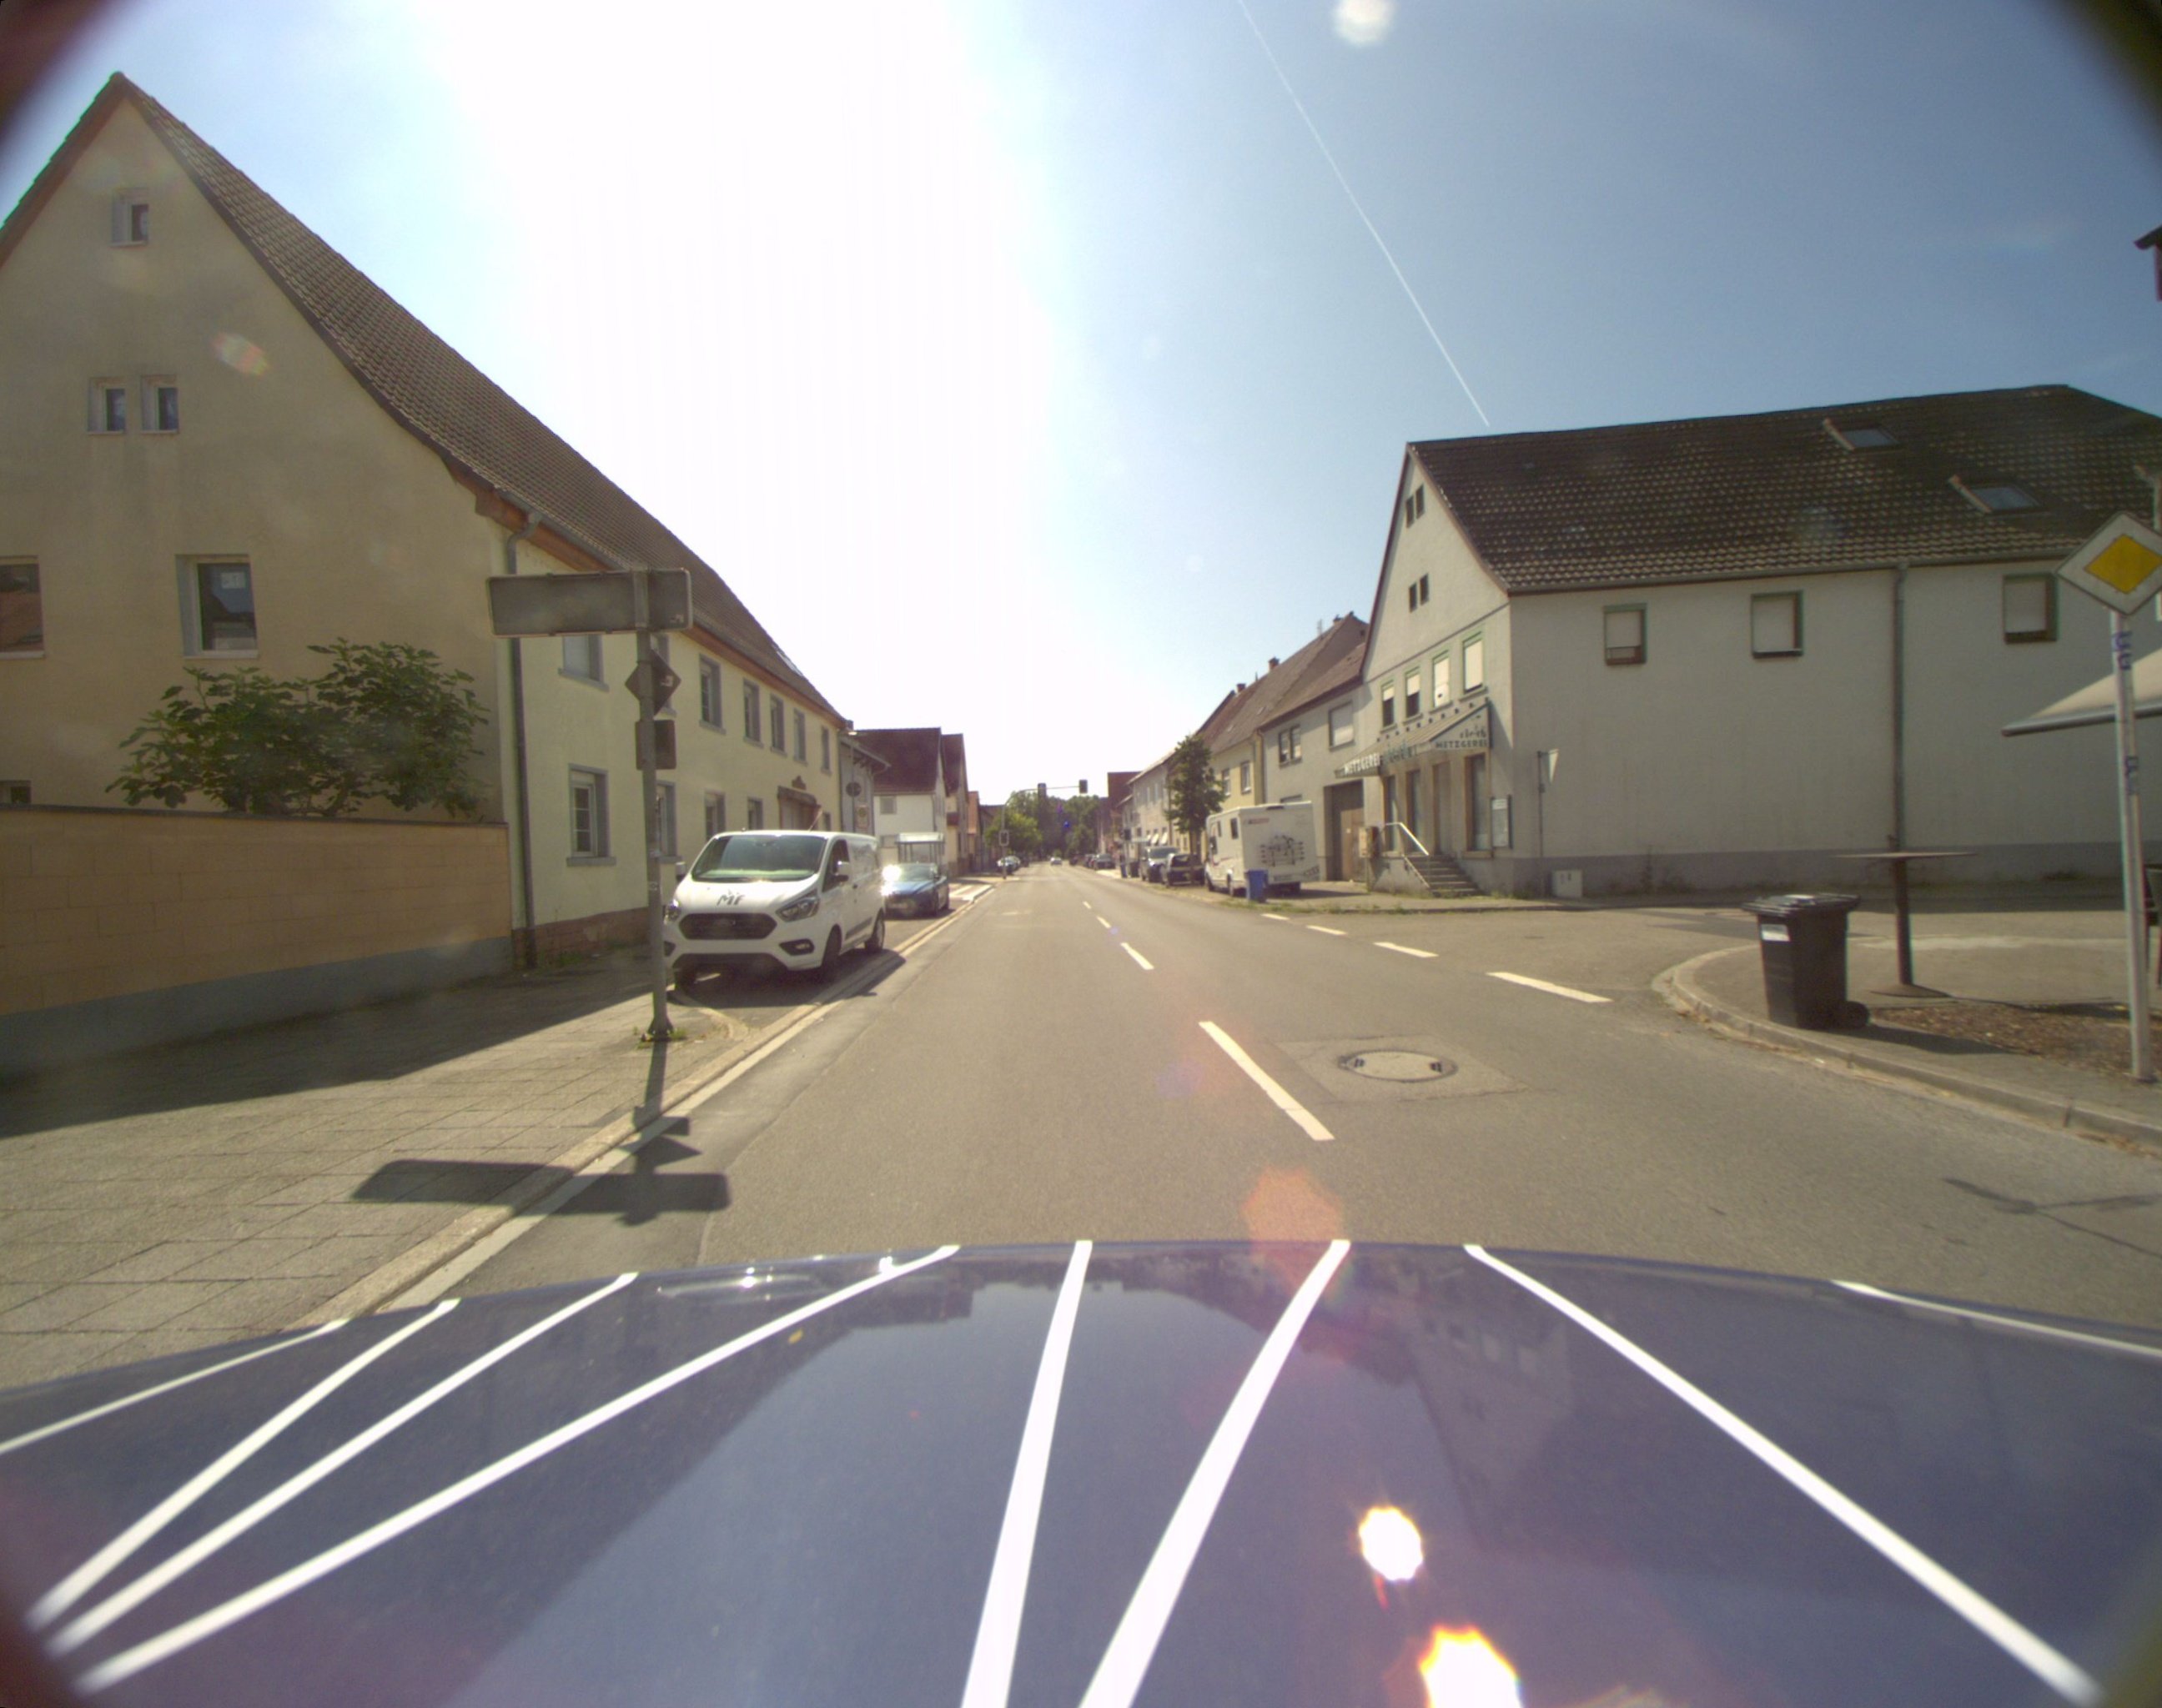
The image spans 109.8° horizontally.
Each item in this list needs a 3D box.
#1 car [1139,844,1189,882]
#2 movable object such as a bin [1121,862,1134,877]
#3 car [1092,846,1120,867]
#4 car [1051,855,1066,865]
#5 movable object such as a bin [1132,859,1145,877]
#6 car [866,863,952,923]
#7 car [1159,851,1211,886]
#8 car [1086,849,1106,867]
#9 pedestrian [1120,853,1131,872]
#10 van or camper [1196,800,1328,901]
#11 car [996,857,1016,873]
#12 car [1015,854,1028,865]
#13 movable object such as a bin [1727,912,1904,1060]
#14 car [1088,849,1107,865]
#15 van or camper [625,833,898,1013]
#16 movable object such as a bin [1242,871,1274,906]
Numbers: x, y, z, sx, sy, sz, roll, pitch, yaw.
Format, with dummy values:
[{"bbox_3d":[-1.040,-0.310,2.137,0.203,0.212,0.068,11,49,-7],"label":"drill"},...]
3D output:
[{"bbox_3d":[4.395,0.427,40.798,1.999,1.837,4.955,-2,0,-1],"label":"car"},{"bbox_3d":[3.031,1.027,49.772,0.719,0.907,0.550,-2,1,-5],"label":"movable object such as a bin"},{"bbox_3d":[2.333,0.195,73.078,2.356,1.837,4.955,-2,0,-1],"label":"car"},{"bbox_3d":[-3.549,0.970,120.276,1.998,1.521,4.000,-2,0,2],"label":"car"},{"bbox_3d":[3.657,0.889,48.463,0.719,1.060,0.550,-2,1,-5],"label":"movable object such as a bin"},{"bbox_3d":[-4.739,1.017,21.440,1.733,1.419,3.984,-2,0,-4],"label":"car"},{"bbox_3d":[4.751,0.617,35.146,1.690,1.474,3.617,-2,0,-3],"label":"car"},{"bbox_3d":[1.585,0.448,84.051,1.999,1.837,4.955,-2,0,-1],"label":"car"},{"bbox_3d":[3.694,0.727,63.428,0.753,1.523,0.581,-2,1,-4],"label":"pedestrian"},{"bbox_3d":[5.870,-0.115,25.889,2.452,2.888,7.065,-2,0,-2],"label":"van or camper"},{"bbox_3d":[-7.970,1.157,81.223,1.999,1.477,3.998,-2,0,-4],"label":"car"},{"bbox_3d":[-9.886,0.906,126.170,1.999,1.659,3.998,-2,0,-4],"label":"car"},{"bbox_3d":[5.159,0.902,5.372,0.644,0.919,0.613,-2,1,-3],"label":"movable object such as a bin"},{"bbox_3d":[1.890,0.342,89.422,1.999,1.837,4.955,-2,0,-1],"label":"car"},{"bbox_3d":[-4.193,0.756,11.156,1.999,1.942,5.344,-2,0,-4],"label":"van or camper"},{"bbox_3d":[4.657,0.903,19.971,0.644,0.867,0.613,-2,1,-3],"label":"movable object such as a bin"}]
